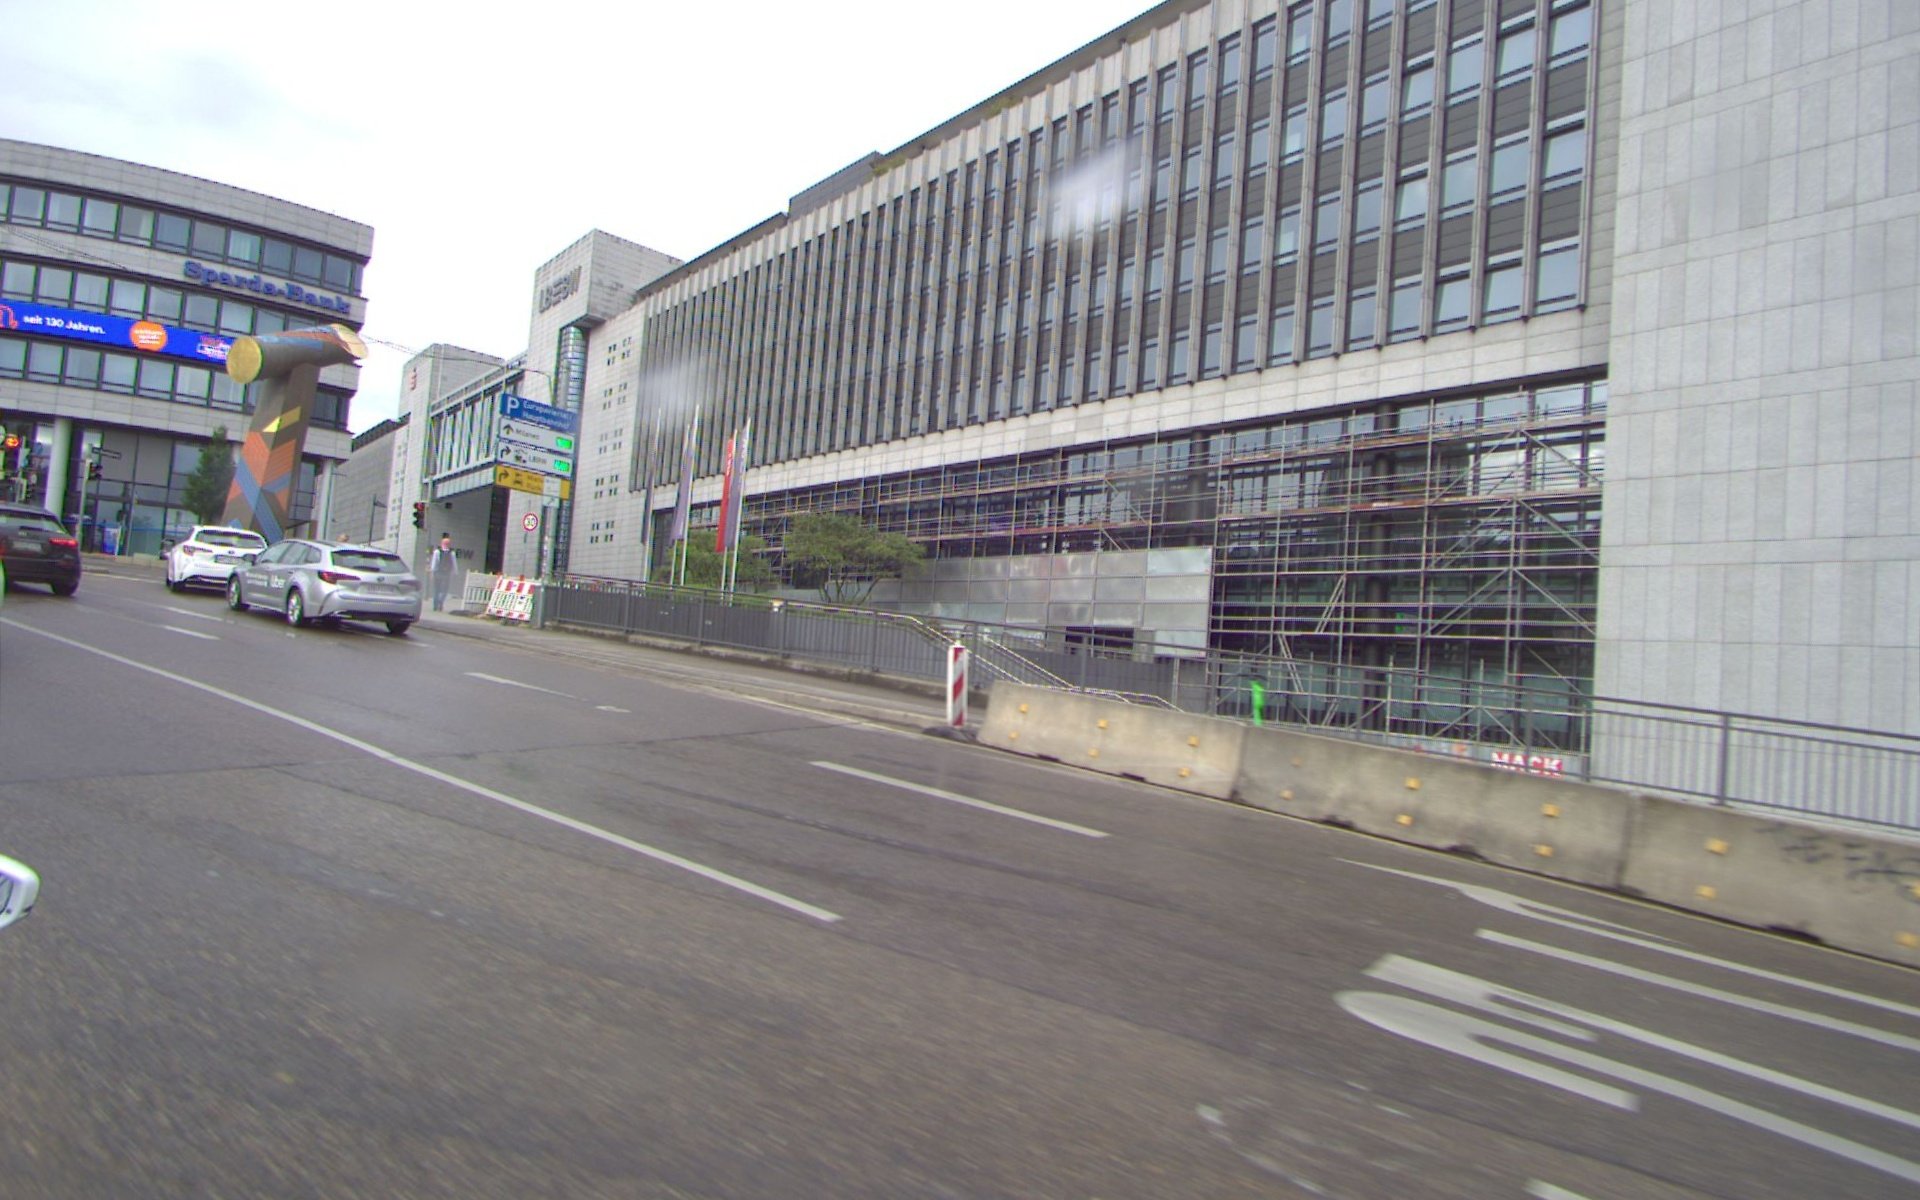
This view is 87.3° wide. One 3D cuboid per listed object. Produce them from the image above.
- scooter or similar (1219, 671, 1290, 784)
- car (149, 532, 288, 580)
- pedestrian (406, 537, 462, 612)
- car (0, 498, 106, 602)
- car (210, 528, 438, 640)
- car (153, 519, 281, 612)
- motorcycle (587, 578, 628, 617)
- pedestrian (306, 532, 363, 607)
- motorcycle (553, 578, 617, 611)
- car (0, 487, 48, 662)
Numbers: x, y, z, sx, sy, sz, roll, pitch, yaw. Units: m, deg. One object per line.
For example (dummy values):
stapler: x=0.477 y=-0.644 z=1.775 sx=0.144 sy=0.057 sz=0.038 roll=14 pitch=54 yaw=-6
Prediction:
scooter or similar: x=3.282 y=1.413 z=11.220 sx=0.565 sy=1.176 sz=0.348 roll=4 pitch=-2 yaw=43
car: x=-33.400 y=-1.960 z=45.436 sx=1.841 sy=1.458 sz=4.698 roll=3 pitch=-4 yaw=39
pedestrian: x=-12.859 y=-0.623 z=24.604 sx=0.829 sy=1.731 sz=0.731 roll=4 pitch=-2 yaw=27
car: x=-16.126 y=-0.919 z=16.615 sx=4.158 sy=1.422 sz=1.759 roll=4 pitch=-4 yaw=31
car: x=-11.190 y=-0.317 z=17.592 sx=4.545 sy=1.468 sz=1.702 roll=5 pitch=-2 yaw=36
car: x=-16.457 y=-0.804 z=22.184 sx=1.765 sy=1.653 sz=4.528 roll=8 pitch=-2 yaw=-41
motorcycle: x=-12.531 y=-0.083 z=35.774 sx=0.608 sy=1.286 sz=1.245 roll=6 pitch=0 yaw=21
pedestrian: x=-19.203 y=-0.934 z=30.917 sx=0.887 sy=2.121 sz=0.856 roll=7 pitch=-3 yaw=5
motorcycle: x=-13.914 y=-0.180 z=37.412 sx=0.623 sy=1.095 sz=2.569 roll=6 pitch=1 yaw=21
car: x=-10.777 y=-0.473 z=9.611 sx=4.150 sy=1.567 sz=1.967 roll=6 pitch=-2 yaw=33
